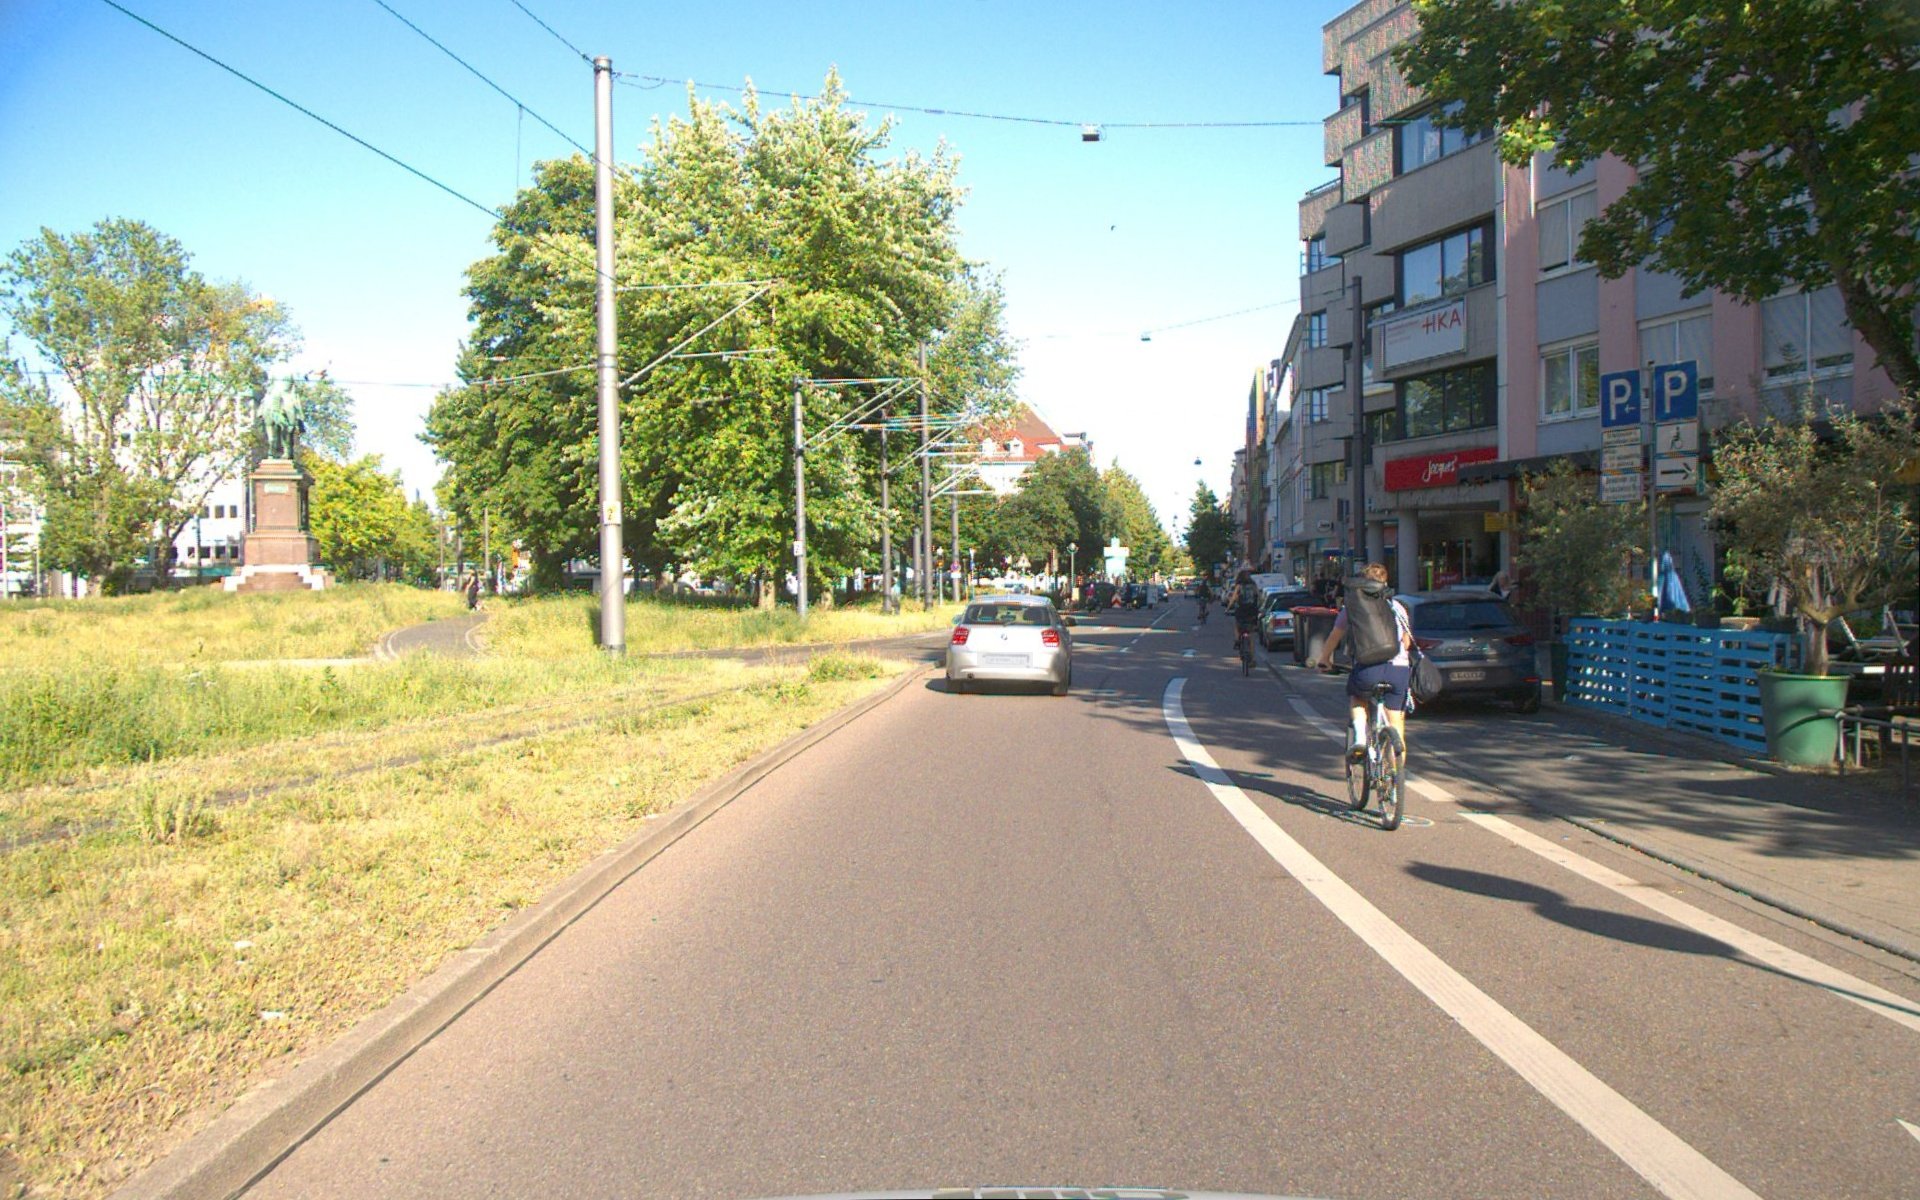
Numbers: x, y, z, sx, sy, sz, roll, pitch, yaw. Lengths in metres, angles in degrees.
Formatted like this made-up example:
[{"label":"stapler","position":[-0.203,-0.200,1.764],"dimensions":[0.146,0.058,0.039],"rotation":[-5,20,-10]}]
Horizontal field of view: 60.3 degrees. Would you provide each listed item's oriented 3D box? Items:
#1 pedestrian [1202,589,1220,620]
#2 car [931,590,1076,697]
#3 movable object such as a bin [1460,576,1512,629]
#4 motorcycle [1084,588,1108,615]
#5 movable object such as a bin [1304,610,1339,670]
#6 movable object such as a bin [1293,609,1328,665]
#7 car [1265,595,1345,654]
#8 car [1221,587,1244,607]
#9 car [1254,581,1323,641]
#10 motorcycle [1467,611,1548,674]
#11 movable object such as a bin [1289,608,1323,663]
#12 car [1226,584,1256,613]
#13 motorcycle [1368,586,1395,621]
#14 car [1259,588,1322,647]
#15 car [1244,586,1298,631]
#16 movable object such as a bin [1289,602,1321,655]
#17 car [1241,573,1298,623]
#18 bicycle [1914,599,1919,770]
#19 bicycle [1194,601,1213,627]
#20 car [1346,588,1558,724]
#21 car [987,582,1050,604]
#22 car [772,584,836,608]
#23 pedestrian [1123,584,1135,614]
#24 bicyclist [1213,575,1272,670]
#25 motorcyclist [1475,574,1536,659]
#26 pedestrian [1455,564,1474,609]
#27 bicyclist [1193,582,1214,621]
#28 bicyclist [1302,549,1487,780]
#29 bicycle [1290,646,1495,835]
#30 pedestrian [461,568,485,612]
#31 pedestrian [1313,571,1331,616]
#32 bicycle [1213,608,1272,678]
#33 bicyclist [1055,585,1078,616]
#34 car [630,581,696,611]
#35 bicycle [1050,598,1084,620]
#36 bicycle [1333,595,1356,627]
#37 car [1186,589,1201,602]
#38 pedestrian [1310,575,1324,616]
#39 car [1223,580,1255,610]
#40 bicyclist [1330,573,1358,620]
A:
[{"label":"pedestrian","position":[13.861,0.253,91.495],"dimensions":[0.659,1.729,0.799],"rotation":[1,-1,-23]},{"label":"car","position":[0.739,0.616,24.743],"dimensions":[1.951,1.448,4.198],"rotation":[1,-1,4]},{"label":"movable object such as a bin","position":[14.301,0.078,44.984],"dimensions":[1.307,1.422,1.122],"rotation":[0,-1,16]},{"label":"motorcycle","position":[7.229,0.104,87.764],"dimensions":[0.733,1.398,1.754],"rotation":[1,-1,-15]},{"label":"movable object such as a bin","position":[6.728,0.733,30.824],"dimensions":[0.561,1.101,0.571],"rotation":[1,-1,5]},{"label":"movable object such as a bin","position":[6.917,0.719,32.666],"dimensions":[0.593,1.087,0.613],"rotation":[1,-1,4]},{"label":"car","position":[8.521,0.597,41.107],"dimensions":[1.811,1.367,4.603],"rotation":[1,-1,11]},{"label":"car","position":[24.134,-0.269,146.749],"dimensions":[1.858,1.704,4.828],"rotation":[1,-1,8]},{"label":"car","position":[9.938,0.350,50.212],"dimensions":[1.812,1.718,3.870],"rotation":[1,-1,8]},{"label":"motorcycle","position":[10.420,0.798,31.557],"dimensions":[0.760,1.146,2.297],"rotation":[1,-1,-1]},{"label":"movable object such as a bin","position":[6.959,0.710,33.298],"dimensions":[0.592,1.087,0.545],"rotation":[1,-1,5]},{"label":"car","position":[17.986,-0.059,106.037],"dimensions":[1.708,1.769,4.964],"rotation":[1,-1,8]},{"label":"motorcycle","position":[14.698,0.132,57.675],"dimensions":[0.748,1.175,2.048],"rotation":[-3,-2,18]},{"label":"car","position":[9.217,0.494,46.287],"dimensions":[1.635,1.545,4.202],"rotation":[1,-1,11]},{"label":"car","position":[10.625,0.309,56.624],"dimensions":[1.736,1.479,4.734],"rotation":[1,-1,10]},{"label":"movable object such as a bin","position":[7.198,0.595,34.492],"dimensions":[0.580,1.102,0.605],"rotation":[1,-1,5]},{"label":"car","position":[11.759,-0.042,63.053],"dimensions":[1.951,1.844,4.312],"rotation":[1,-1,8]},{"label":"bicycle","position":[8.312,0.627,12.273],"dimensions":[2.122,1.272,0.897],"rotation":[-1,0,31]},{"label":"bicycle","position":[9.411,0.533,63.914],"dimensions":[0.638,0.975,2.700],"rotation":[1,-1,7]},{"label":"car","position":[6.051,0.618,20.850],"dimensions":[1.728,1.463,4.587],"rotation":[-1,0,6]},{"label":"car","position":[5.244,-0.624,147.948],"dimensions":[5.182,1.831,2.152],"rotation":[1,-1,-19]},{"label":"car","position":[-13.901,-0.331,147.442],"dimensions":[5.490,2.049,1.808],"rotation":[1,-1,-19]},{"label":"pedestrian","position":[9.680,-0.037,94.652],"dimensions":[0.622,1.701,0.693],"rotation":[0,-1,9]},{"label":"bicyclist","position":[5.083,0.403,29.828],"dimensions":[0.920,1.662,0.935],"rotation":[1,-1,2]},{"label":"motorcyclist","position":[10.392,0.314,31.525],"dimensions":[0.879,1.578,0.806],"rotation":[1,-1,-1]},{"label":"pedestrian","position":[20.637,-0.556,67.664],"dimensions":[0.689,1.848,0.716],"rotation":[0,-1,24]},{"label":"bicyclist","position":[9.425,0.077,63.985],"dimensions":[0.769,1.478,1.096],"rotation":[1,-1,7]},{"label":"bicyclist","position":[2.968,0.433,11.397],"dimensions":[1.016,1.510,0.988],"rotation":[1,-1,0]},{"label":"bicycle","position":[2.976,0.922,11.640],"dimensions":[0.867,1.156,2.229],"rotation":[1,-1,0]},{"label":"pedestrian","position":[-18.200,-0.369,61.855],"dimensions":[0.670,1.644,0.546],"rotation":[2,-1,-44]},{"label":"pedestrian","position":[15.507,-0.262,70.934],"dimensions":[0.656,1.888,0.611],"rotation":[-3,-2,12]},{"label":"bicycle","position":[5.077,0.758,29.819],"dimensions":[0.802,1.206,1.965],"rotation":[1,-1,2]},{"label":"bicyclist","position":[5.382,0.035,83.809],"dimensions":[0.915,1.534,0.821],"rotation":[1,-1,-19]},{"label":"car","position":[-24.913,-0.325,138.701],"dimensions":[5.247,2.354,1.992],"rotation":[1,-1,-15]},{"label":"bicycle","position":[5.406,0.442,83.639],"dimensions":[0.797,1.087,2.569],"rotation":[1,-1,-18]},{"label":"bicycle","position":[11.200,0.336,48.193],"dimensions":[0.523,0.907,2.072],"rotation":[1,-1,10]},{"label":"car","position":[29.609,-0.567,209.592],"dimensions":[1.830,1.583,4.003],"rotation":[1,-1,9]},{"label":"pedestrian","position":[15.468,-0.182,71.745],"dimensions":[0.571,1.744,0.698],"rotation":[0,-1,11]},{"label":"car","position":[19.590,-0.349,116.198],"dimensions":[1.951,2.040,5.121],"rotation":[-1,0,7]},{"label":"bicyclist","position":[11.193,-0.102,48.261],"dimensions":[0.742,1.349,0.995],"rotation":[1,-1,10]}]
